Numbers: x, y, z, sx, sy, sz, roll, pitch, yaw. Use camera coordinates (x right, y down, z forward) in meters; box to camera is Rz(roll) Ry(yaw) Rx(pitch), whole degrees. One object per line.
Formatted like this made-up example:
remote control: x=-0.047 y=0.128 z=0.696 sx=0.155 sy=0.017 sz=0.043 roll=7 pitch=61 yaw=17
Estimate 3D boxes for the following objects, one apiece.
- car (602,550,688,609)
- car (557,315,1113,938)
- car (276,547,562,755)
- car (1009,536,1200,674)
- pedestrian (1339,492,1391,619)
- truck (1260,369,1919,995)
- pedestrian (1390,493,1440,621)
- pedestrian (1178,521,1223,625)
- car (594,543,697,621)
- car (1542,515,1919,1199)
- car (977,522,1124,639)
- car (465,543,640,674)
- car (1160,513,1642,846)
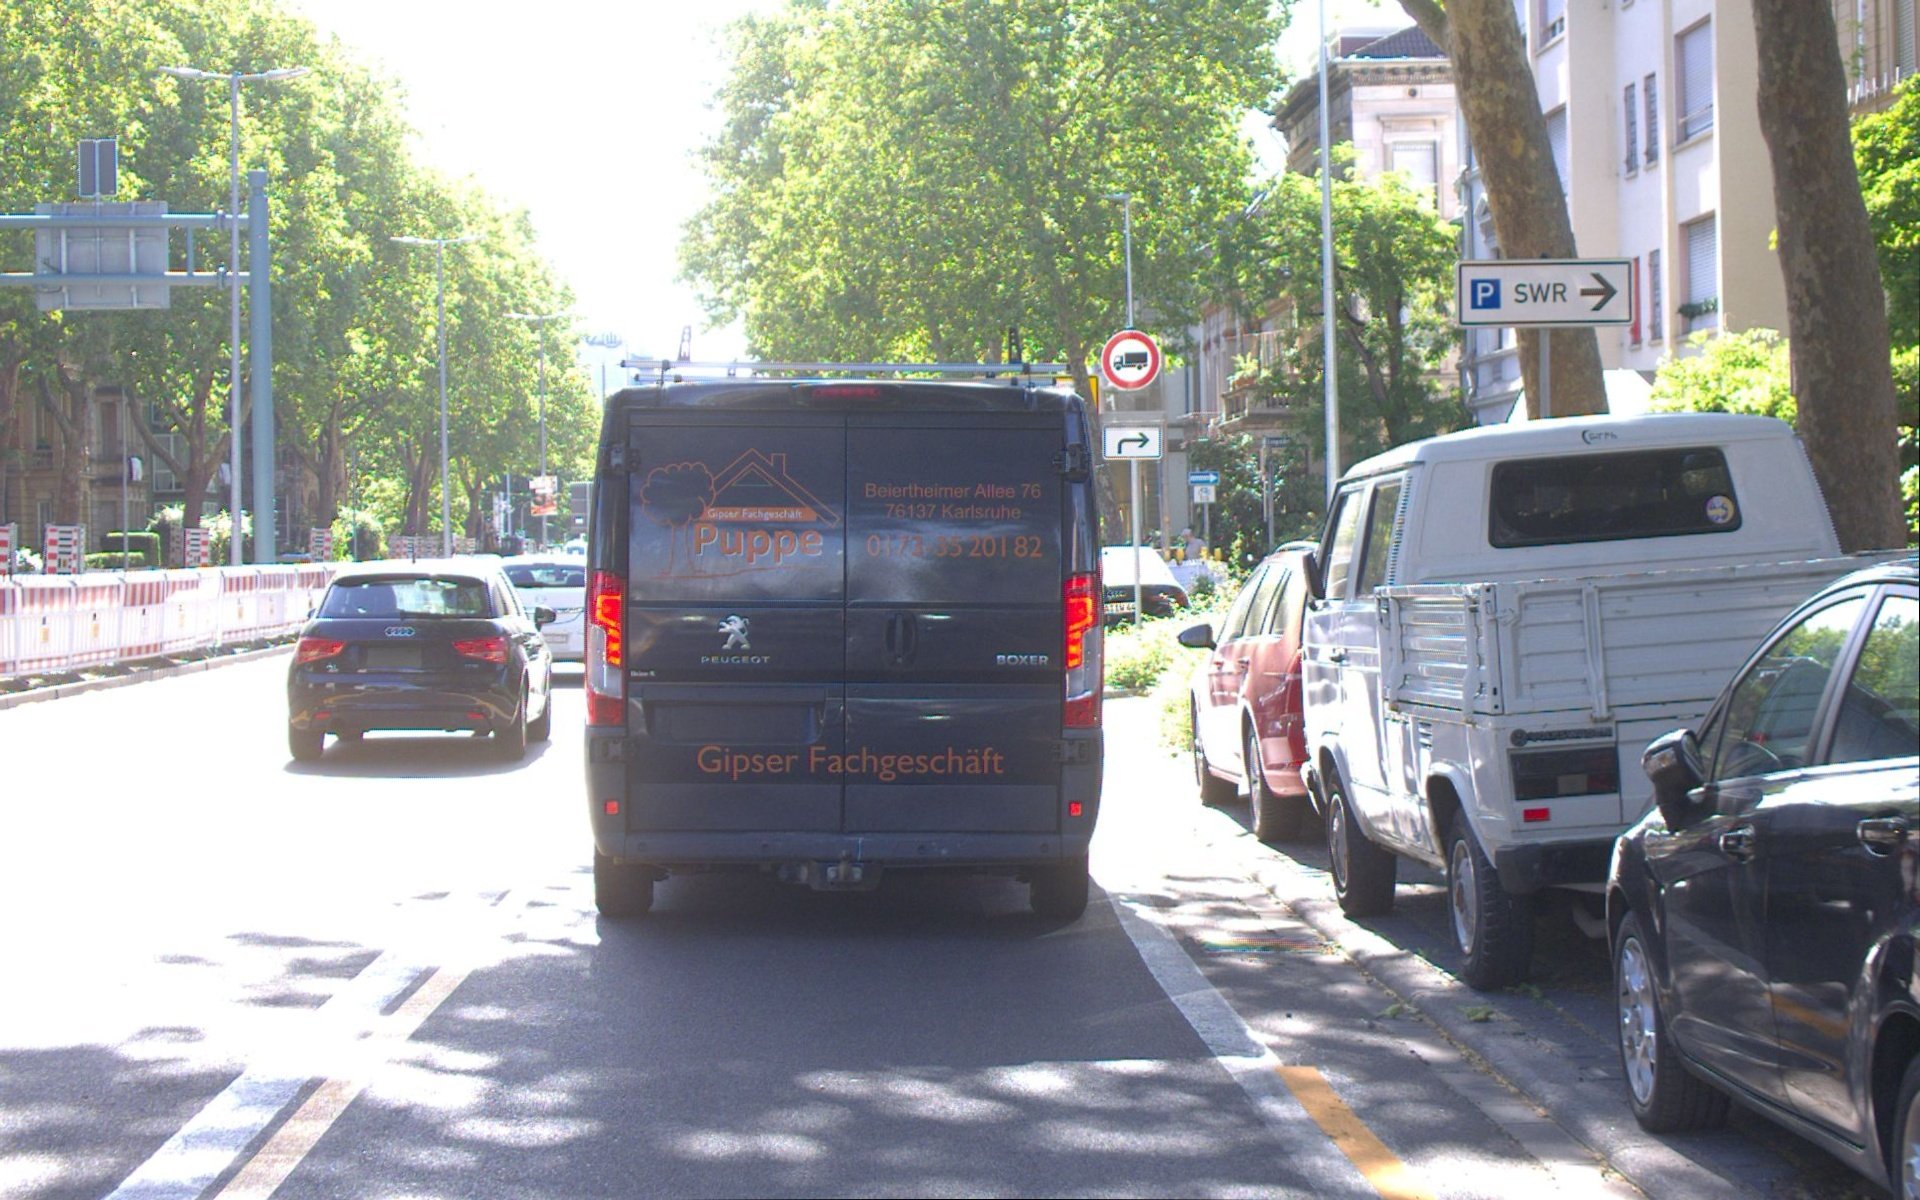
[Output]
car: x=-8.393 y=-0.569 z=91.861 sx=1.993 sy=1.465 sz=4.001 roll=1 pitch=2 yaw=-1
car: x=-0.571 y=0.050 z=14.950 sx=2.095 sy=2.347 sz=3.934 roll=0 pitch=1 yaw=-3
car: x=-3.955 y=0.322 z=25.667 sx=1.746 sy=1.402 sz=4.001 roll=1 pitch=1 yaw=-4
car: x=1.586 y=0.022 z=39.248 sx=1.844 sy=1.437 sz=4.487 roll=-1 pitch=1 yaw=-2
pedestrian: x=5.699 y=-0.628 z=48.314 sx=0.675 sy=1.749 sz=0.875 roll=-1 pitch=1 yaw=7
truck: x=2.364 y=0.216 z=12.745 sx=1.876 sy=1.875 sz=4.454 roll=-2 pitch=1 yaw=-2
pedestrian: x=6.336 y=-0.600 z=47.894 sx=0.654 sy=1.749 sz=1.013 roll=-1 pitch=1 yaw=7
pedestrian: x=4.725 y=-0.534 z=67.576 sx=0.798 sy=2.007 sz=1.168 roll=-1 pitch=1 yaw=3
car: x=-5.161 y=-0.312 z=56.699 sx=1.421 sy=1.221 sz=3.438 roll=-1 pitch=1 yaw=-1
car: x=2.518 y=0.546 z=7.486 sx=1.748 sy=1.472 sz=4.101 roll=-1 pitch=1 yaw=0
car: x=1.338 y=-0.317 z=52.202 sx=1.844 sy=1.638 sz=3.801 roll=-2 pitch=1 yaw=-3
car: x=-4.650 y=0.076 z=39.637 sx=1.547 sy=1.420 sz=3.555 roll=-1 pitch=1 yaw=0
car: x=2.200 y=0.344 z=18.392 sx=1.821 sy=1.502 sz=4.677 roll=-2 pitch=1 yaw=-1
